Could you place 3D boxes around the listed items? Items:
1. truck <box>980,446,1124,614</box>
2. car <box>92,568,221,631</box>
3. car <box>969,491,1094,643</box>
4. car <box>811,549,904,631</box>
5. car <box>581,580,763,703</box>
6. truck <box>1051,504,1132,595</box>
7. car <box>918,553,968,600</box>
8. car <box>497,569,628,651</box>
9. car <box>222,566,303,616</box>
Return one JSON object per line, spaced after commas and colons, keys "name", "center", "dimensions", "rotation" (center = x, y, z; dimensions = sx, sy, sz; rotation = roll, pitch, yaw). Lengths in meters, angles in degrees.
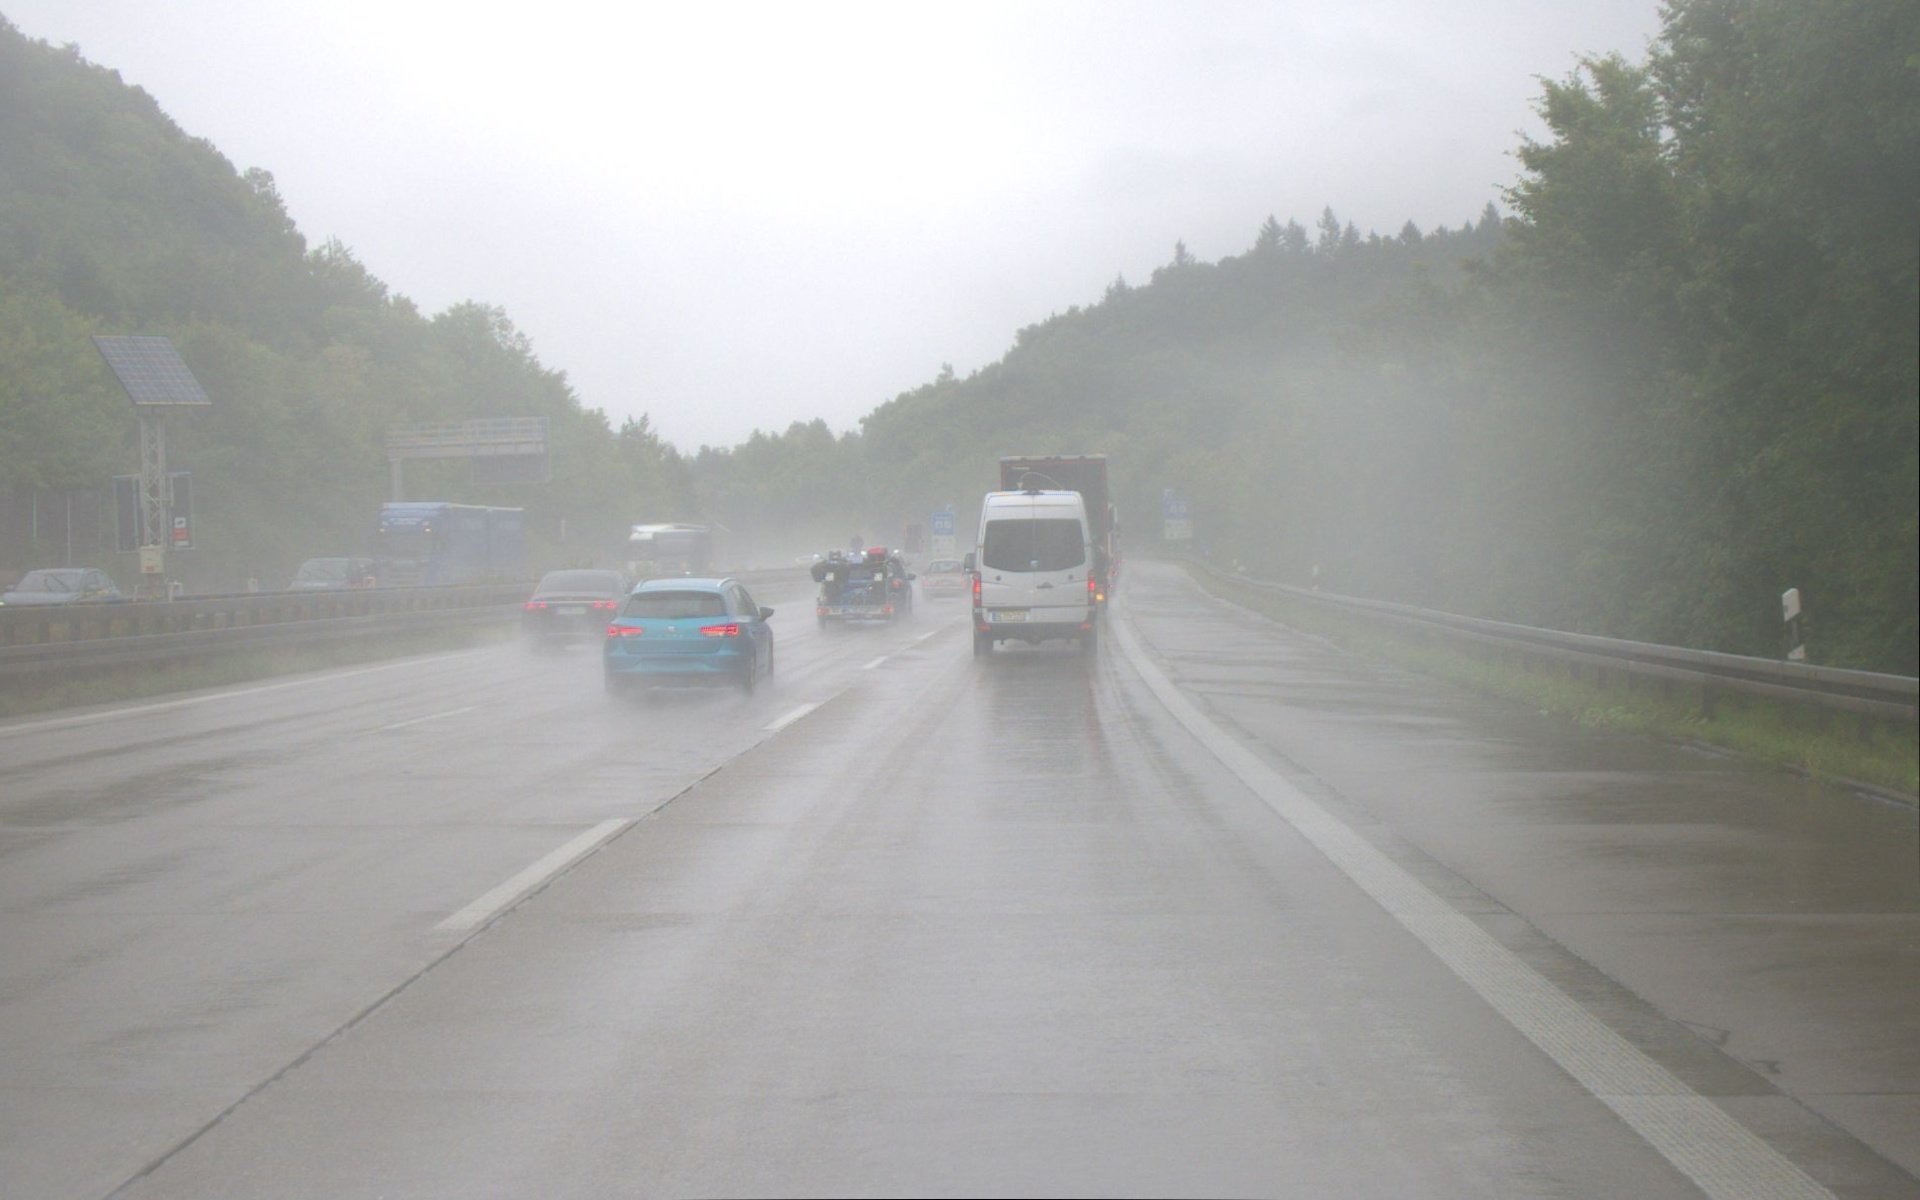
{"name": "truck", "center": [2.359, -1.872, 87.047], "dimensions": [3.385, 3.954, 8.667], "rotation": [-1, 3, 2]}
{"name": "car", "center": [-18.005, -0.041, 77.166], "dimensions": [1.752, 1.334, 4.425], "rotation": [1, 1, 1]}
{"name": "car", "center": [1.155, -0.545, 55.853], "dimensions": [1.899, 2.326, 5.250], "rotation": [1, 1, 1]}
{"name": "car", "center": [-2.306, -0.253, 78.221], "dimensions": [1.868, 1.804, 4.189], "rotation": [1, 1, 1]}
{"name": "car", "center": [-3.380, 0.457, 41.080], "dimensions": [1.856, 1.334, 4.351], "rotation": [1, 1, -1]}
{"name": "truck", "center": [5.933, -2.210, 153.198], "dimensions": [3.091, 3.896, 9.052], "rotation": [1, 0, 5]}
{"name": "car", "center": [-0.584, -0.850, 121.358], "dimensions": [1.614, 1.622, 4.189], "rotation": [1, 1, 1]}
{"name": "car", "center": [-6.860, 0.150, 59.710], "dimensions": [1.856, 1.334, 4.352], "rotation": [1, 1, -1]}
{"name": "car", "center": [-23.899, -0.320, 117.915], "dimensions": [1.993, 1.656, 4.000], "rotation": [0, 1, -1]}
